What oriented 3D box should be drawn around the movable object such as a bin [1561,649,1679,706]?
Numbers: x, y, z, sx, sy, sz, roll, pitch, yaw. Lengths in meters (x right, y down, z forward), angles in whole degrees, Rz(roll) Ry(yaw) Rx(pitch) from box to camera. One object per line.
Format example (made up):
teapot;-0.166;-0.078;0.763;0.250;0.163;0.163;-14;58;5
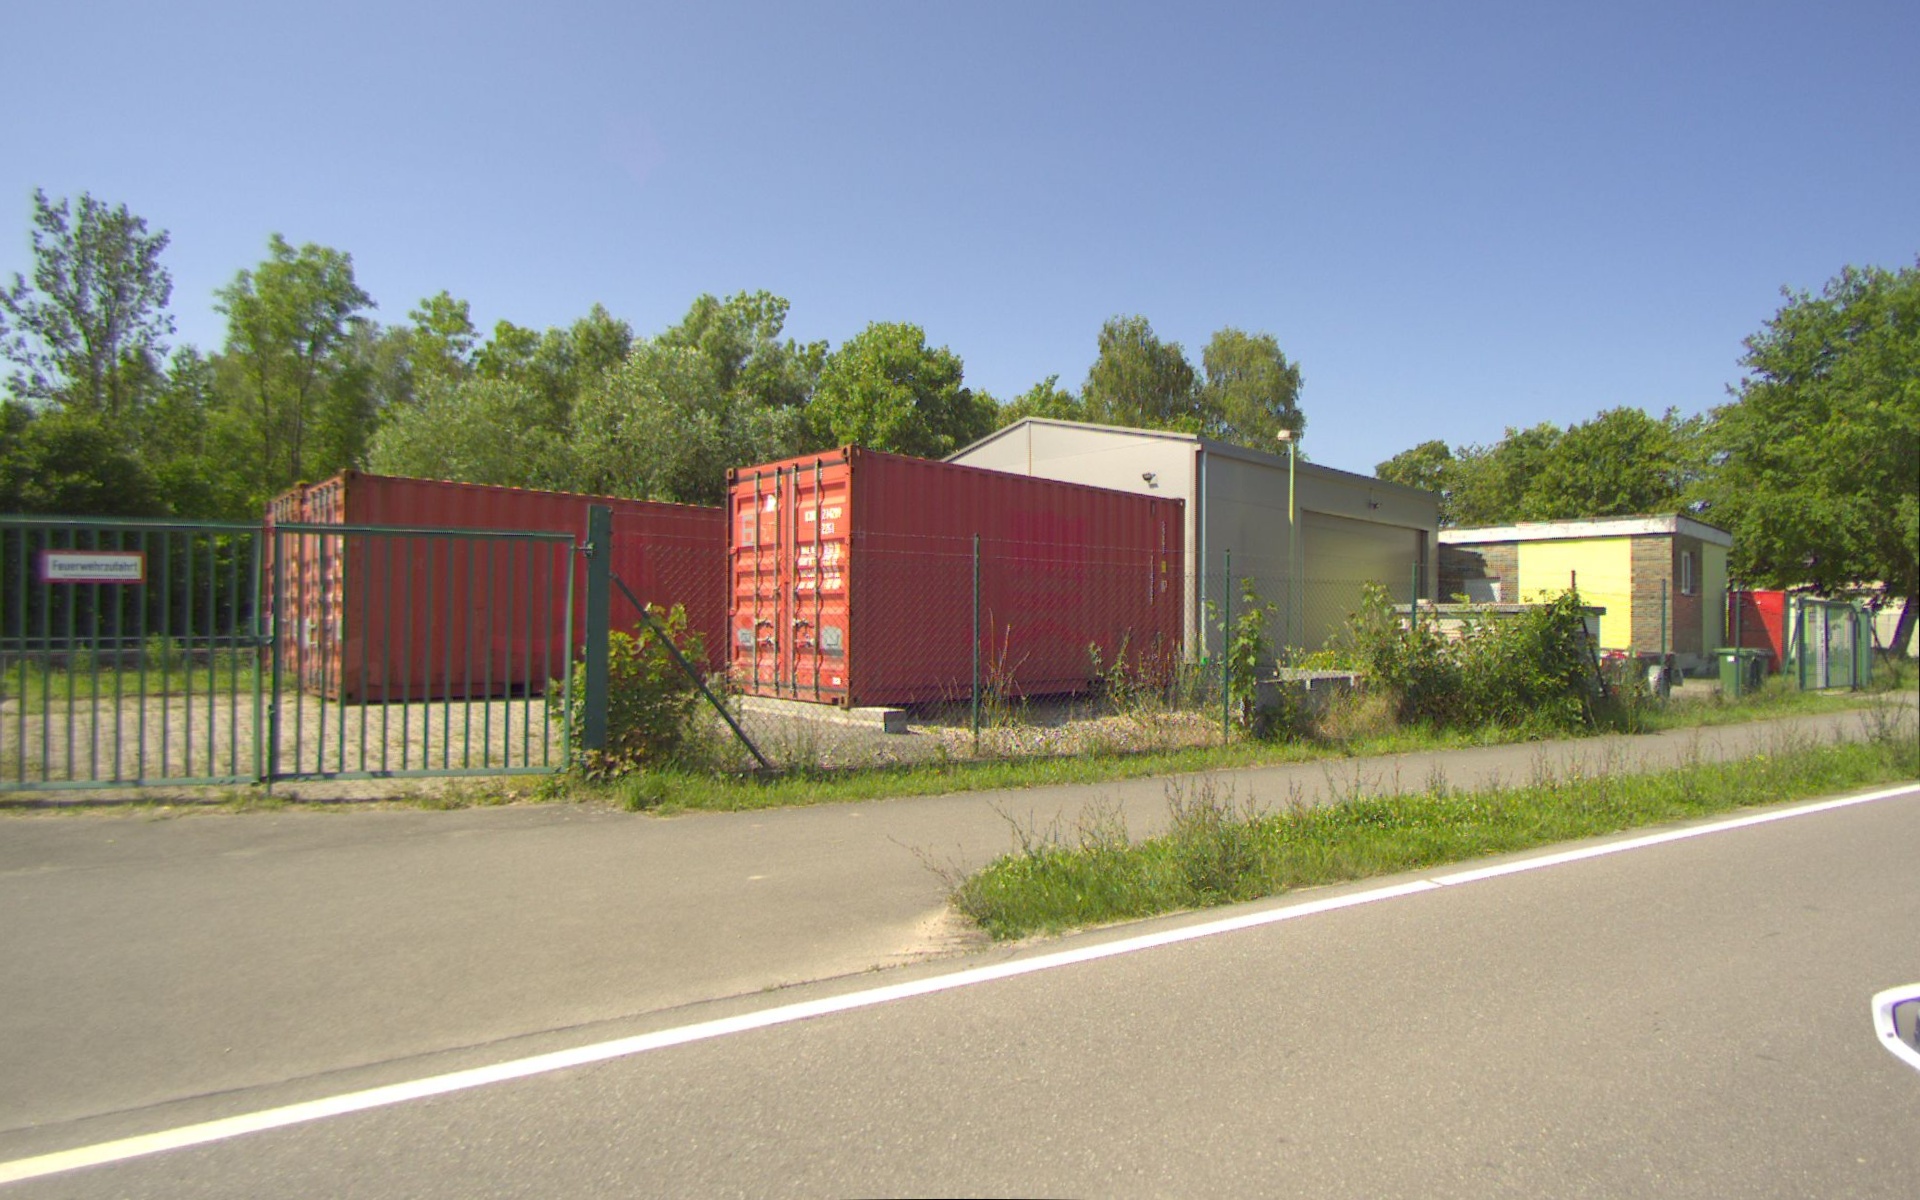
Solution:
movable object such as a bin;11.001;1.267;16.730;1.840;0.842;1.089;1;-1;-37
